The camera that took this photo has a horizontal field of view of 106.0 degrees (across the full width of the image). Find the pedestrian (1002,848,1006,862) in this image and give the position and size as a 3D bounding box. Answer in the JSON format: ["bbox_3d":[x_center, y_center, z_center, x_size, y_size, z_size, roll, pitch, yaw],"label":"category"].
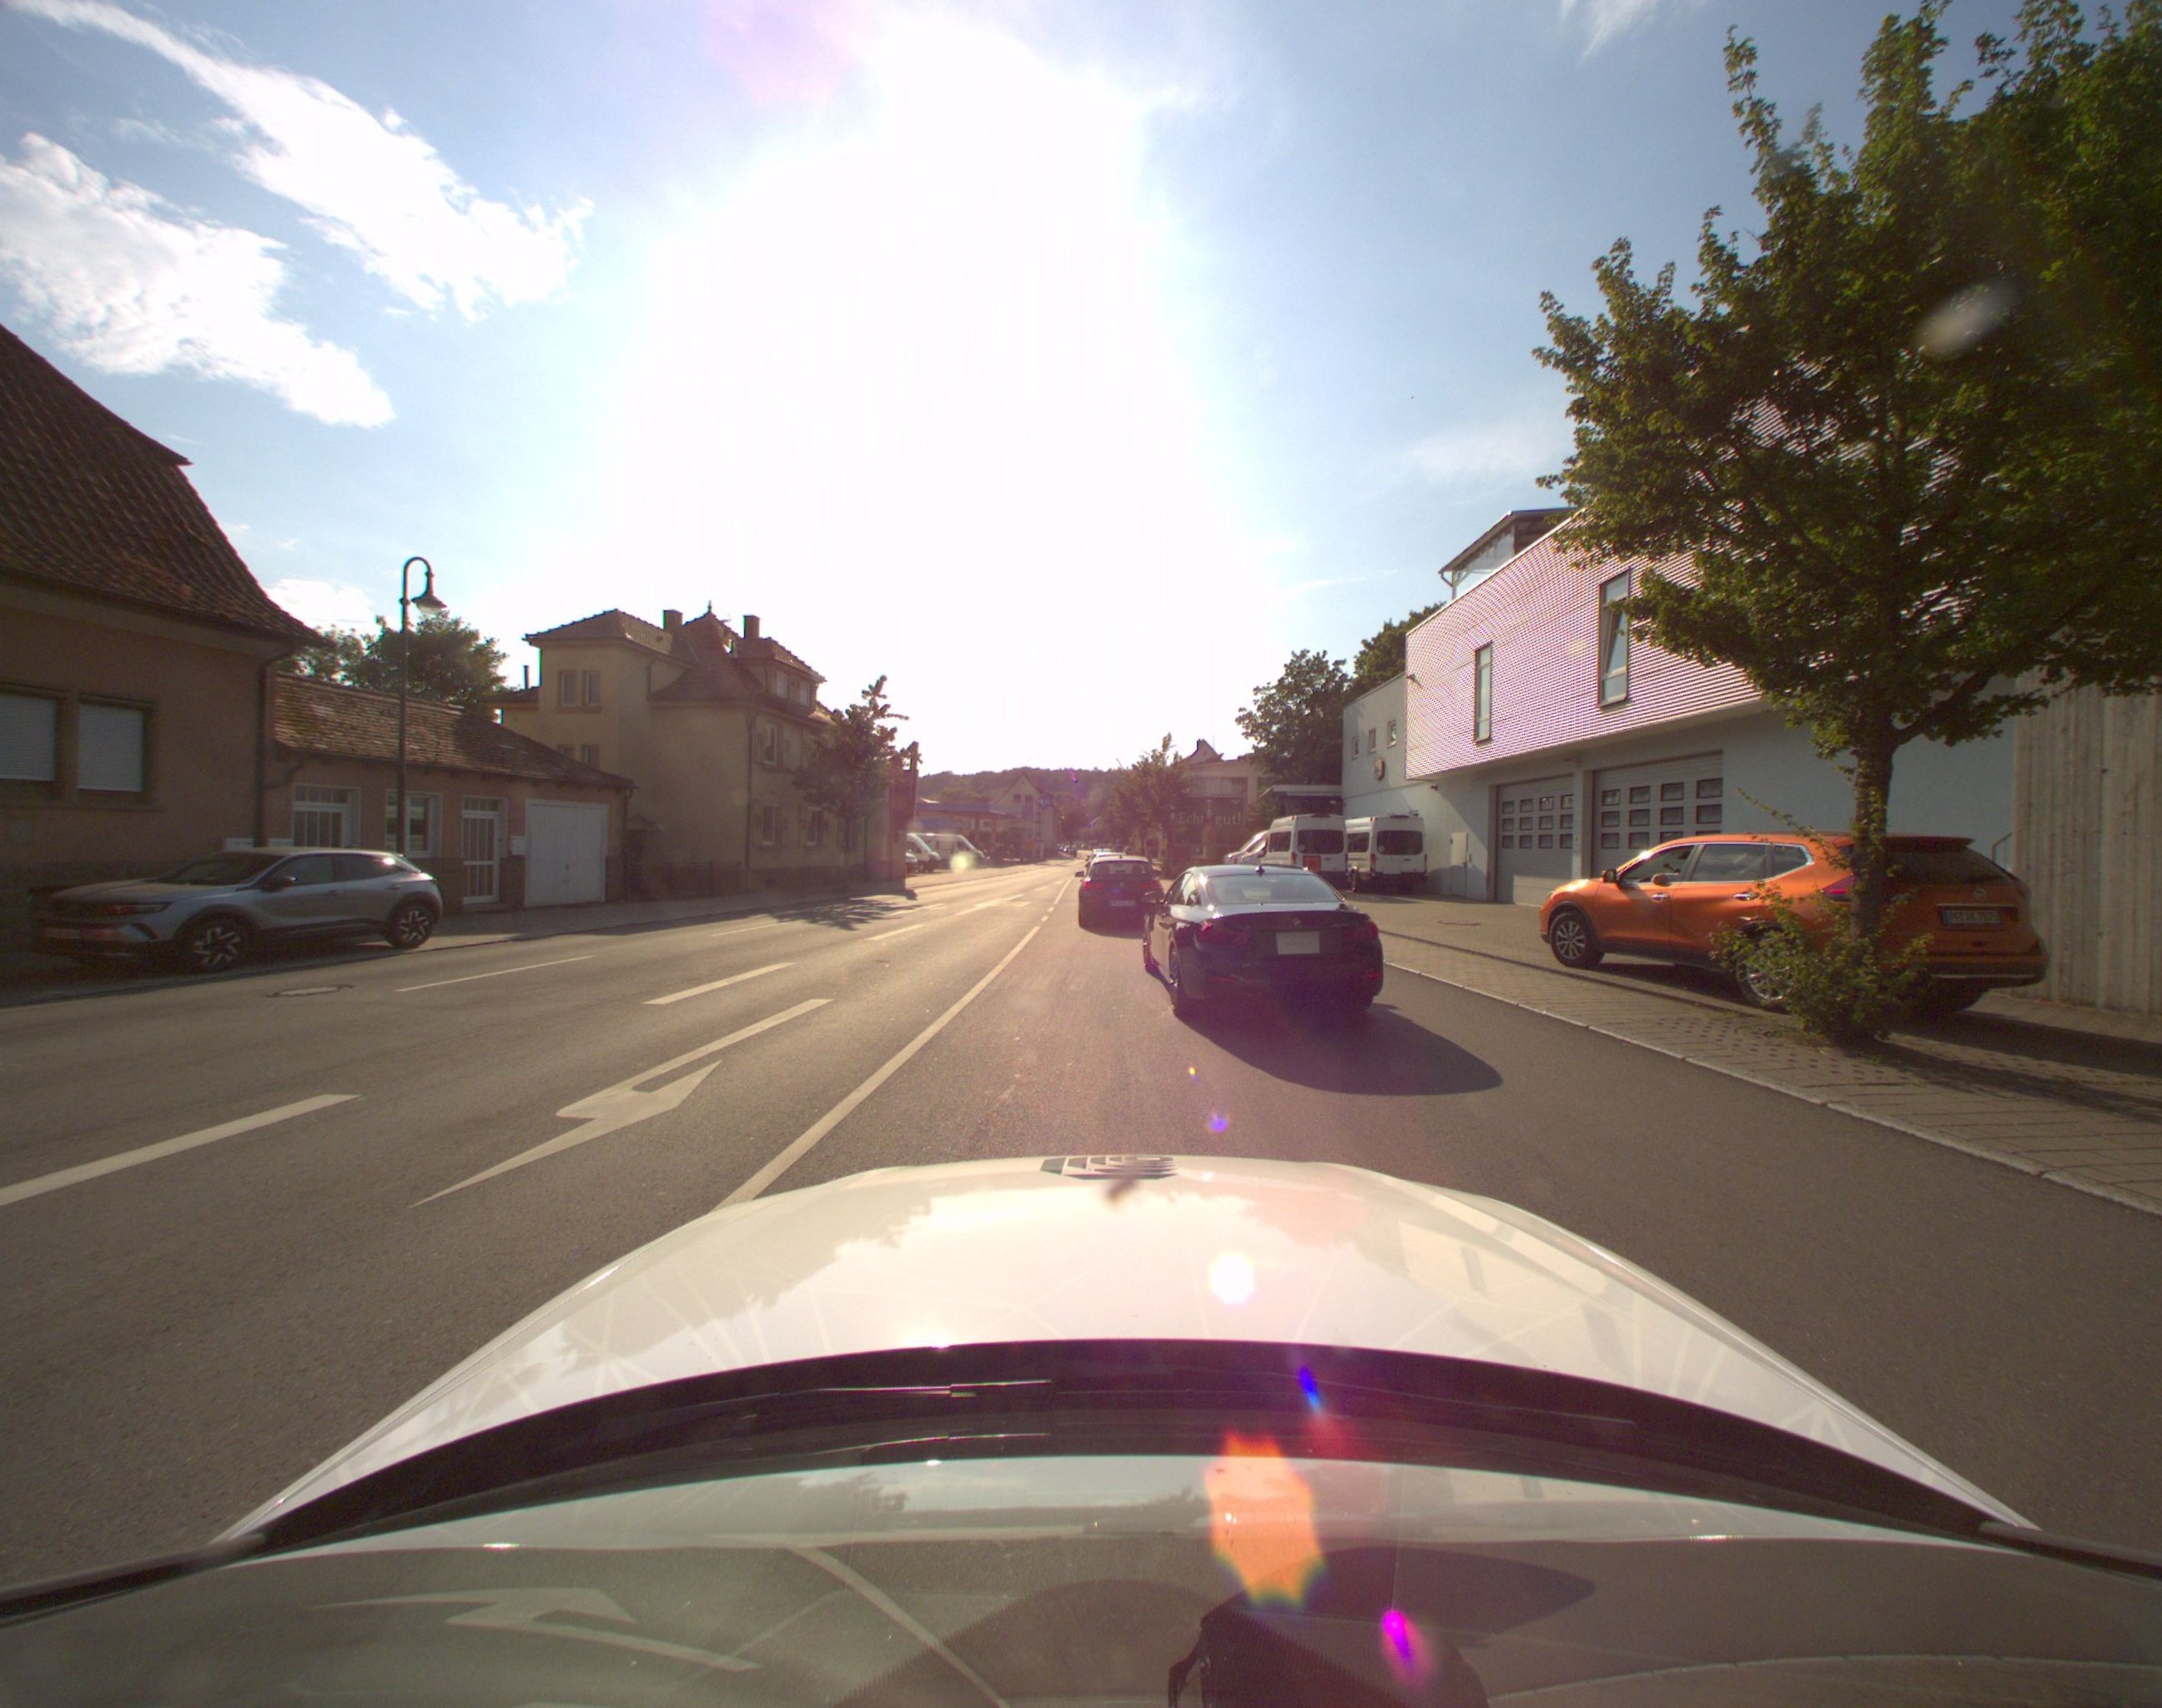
[{"bbox_3d":[-8.809,0.126,93.567,0.406,1.547,0.432,0,0,-1],"label":"pedestrian"}]

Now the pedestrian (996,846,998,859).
[{"bbox_3d":[-9.560,-0.180,92.699,0.261,1.383,0.288,0,0,3],"label":"pedestrian"}]

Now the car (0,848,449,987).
[{"bbox_3d":[-11.481,0.715,11.409,1.746,1.478,4.009,3,1,8],"label":"car"}]

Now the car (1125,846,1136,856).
[{"bbox_3d":[7.803,-0.446,127.711,1.591,1.485,3.476,1,1,1],"label":"car"}]

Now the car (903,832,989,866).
[{"bbox_3d":[-10.296,-0.420,62.528,6.134,2.444,2.251,1,1,2],"label":"car"}]

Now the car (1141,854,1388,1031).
[{"bbox_3d":[1.663,0.721,8.783,1.694,1.369,4.261,0,1,0],"label":"car"}]

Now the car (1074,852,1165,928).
[{"bbox_3d":[0.849,0.696,17.553,1.764,1.456,3.519,0,0,3],"label":"car"}]

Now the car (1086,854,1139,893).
[{"bbox_3d":[1.169,0.724,31.713,1.750,1.414,3.417,0,1,-4],"label":"car"}]

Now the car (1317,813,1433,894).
[{"bbox_3d":[10.893,-0.065,30.788,2.104,2.721,6.443,0,1,1],"label":"car"}]

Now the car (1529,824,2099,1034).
[{"bbox_3d":[7.098,0.580,8.724,1.831,1.649,4.530,0,0,-5],"label":"car"}]

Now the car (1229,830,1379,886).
[{"bbox_3d":[9.610,0.153,35.453,6.025,2.363,2.043,0,1,-1],"label":"car"}]

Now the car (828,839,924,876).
[{"bbox_3d":[-11.782,0.201,47.003,4.953,1.999,1.938,1,0,4],"label":"car"}]

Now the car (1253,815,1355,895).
[{"bbox_3d":[8.222,-0.019,30.751,2.142,2.680,6.604,0,1,1],"label":"car"}]

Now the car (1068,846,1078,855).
[{"bbox_3d":[-1.421,-0.678,140.308,1.591,1.485,3.476,1,1,1],"label":"car"}]

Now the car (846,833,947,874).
[{"bbox_3d":[-11.915,-0.039,52.796,5.889,2.480,2.198,1,1,6],"label":"car"}]

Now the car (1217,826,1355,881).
[{"bbox_3d":[9.612,-0.040,38.495,6.025,2.516,2.043,0,1,-1],"label":"car"}]

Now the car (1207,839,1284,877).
[{"bbox_3d":[8.375,0.179,41.613,3.589,1.894,1.586,0,1,-2],"label":"car"}]

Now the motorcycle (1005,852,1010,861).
[{"bbox_3d":[-8.385,0.297,93.110,0.362,0.943,1.696,0,1,1],"label":"motorcycle"}]

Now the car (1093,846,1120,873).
[{"bbox_3d":[1.730,0.343,54.648,1.595,1.767,3.415,0,1,4],"label":"car"}]

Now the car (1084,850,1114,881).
[{"bbox_3d":[0.976,0.593,44.635,1.586,1.600,3.894,0,1,1],"label":"car"}]

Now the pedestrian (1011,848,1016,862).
[{"bbox_3d":[-7.730,0.094,93.435,0.608,1.670,0.442,0,0,-1],"label":"pedestrian"}]
